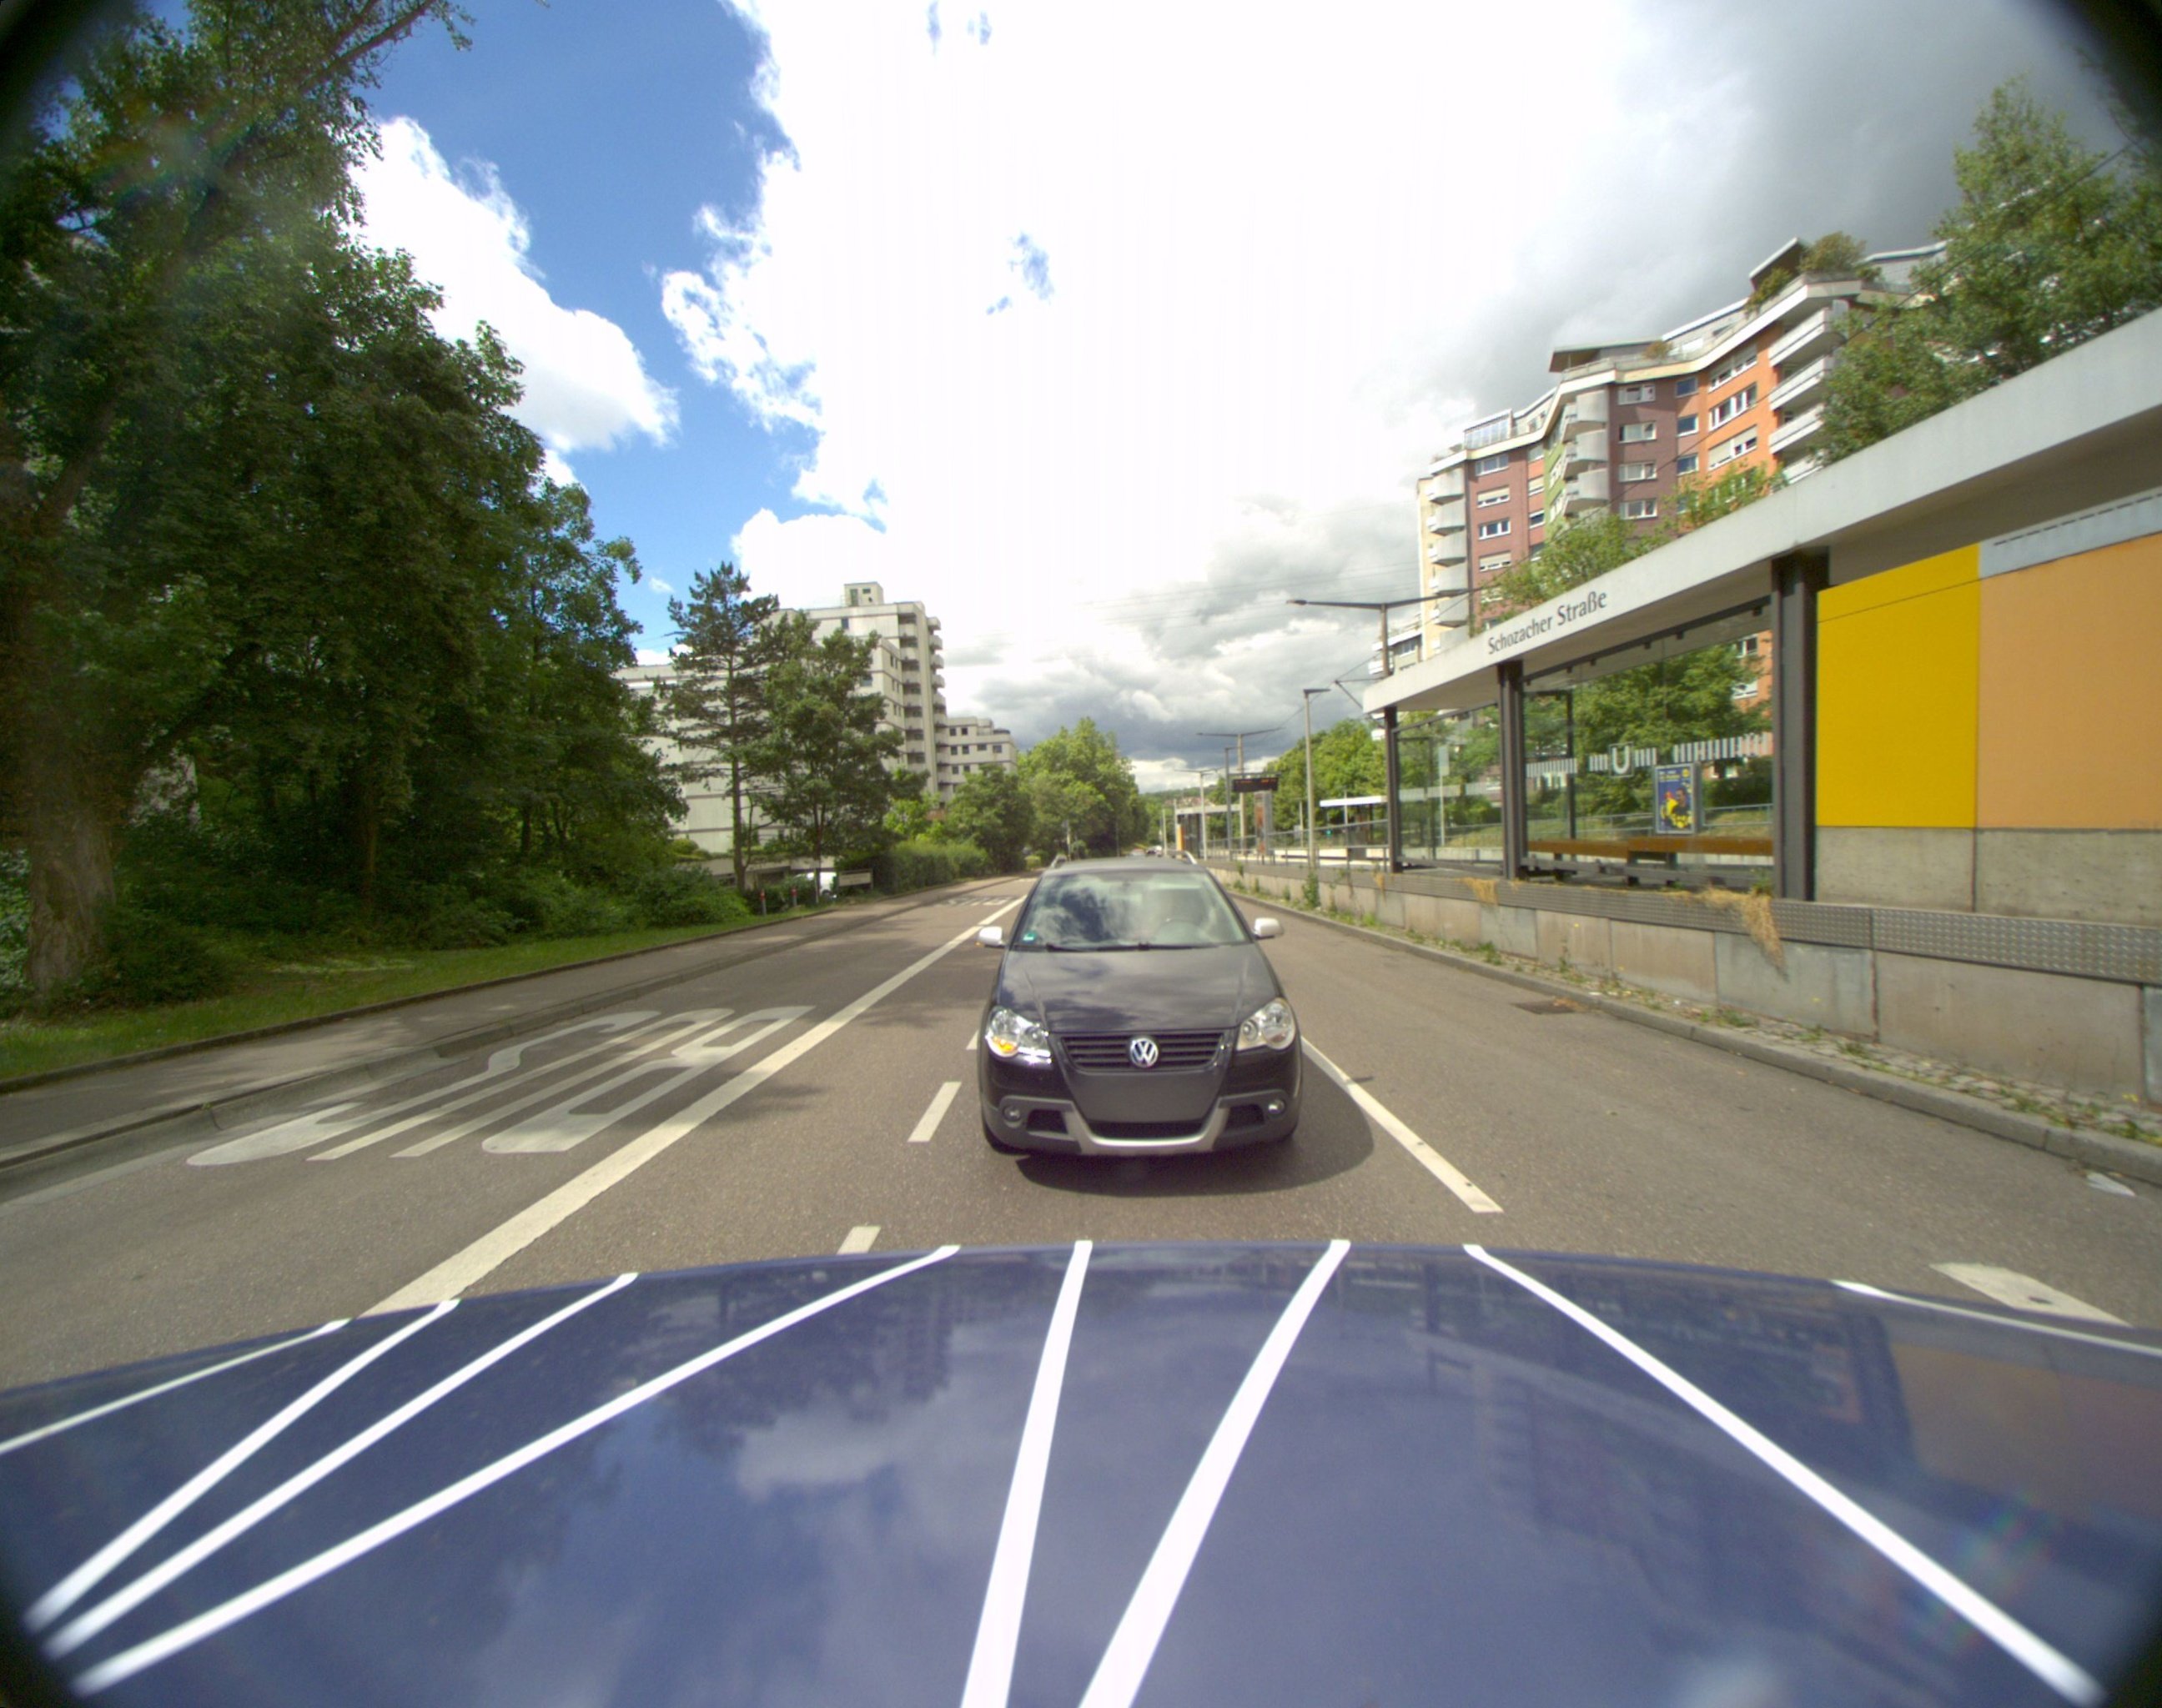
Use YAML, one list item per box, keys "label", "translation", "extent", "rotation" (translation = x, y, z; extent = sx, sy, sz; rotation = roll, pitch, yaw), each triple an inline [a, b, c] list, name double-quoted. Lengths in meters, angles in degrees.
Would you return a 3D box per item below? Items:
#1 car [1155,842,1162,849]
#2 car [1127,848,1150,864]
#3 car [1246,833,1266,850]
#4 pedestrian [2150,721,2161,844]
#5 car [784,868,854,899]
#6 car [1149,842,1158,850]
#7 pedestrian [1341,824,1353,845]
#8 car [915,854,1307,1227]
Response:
- label: "car"
  translation: [20.411, -2.357, 199.415]
  extent: [1.801, 1.698, 4.001]
  rotation: [-3, 1, 6]
- label: "car"
  translation: [5.207, 0.172, 69.320]
  extent: [1.821, 1.377, 4.065]
  rotation: [-2, 1, 2]
- label: "car"
  translation: [22.140, -1.596, 96.141]
  extent: [1.737, 2.002, 4.000]
  rotation: [-2, 1, 2]
- label: "pedestrian"
  translation: [15.227, -0.997, 10.540]
  extent: [0.354, 1.703, 0.426]
  rotation: [-3, 2, -41]
- label: "car"
  translation: [-19.903, 2.230, 57.793]
  extent: [4.543, 2.002, 2.001]
  rotation: [-2, 1, 7]
- label: "car"
  translation: [14.175, -1.609, 147.826]
  extent: [1.643, 1.395, 3.708]
  rotation: [-2, 1, 4]
- label: "pedestrian"
  translation: [16.080, -1.165, 45.868]
  extent: [0.536, 1.270, 0.562]
  rotation: [-2, 1, 6]
- label: "car"
  translation: [0.218, 0.824, 5.294]
  extent: [1.641, 1.521, 4.000]
  rotation: [-2, 1, 3]
